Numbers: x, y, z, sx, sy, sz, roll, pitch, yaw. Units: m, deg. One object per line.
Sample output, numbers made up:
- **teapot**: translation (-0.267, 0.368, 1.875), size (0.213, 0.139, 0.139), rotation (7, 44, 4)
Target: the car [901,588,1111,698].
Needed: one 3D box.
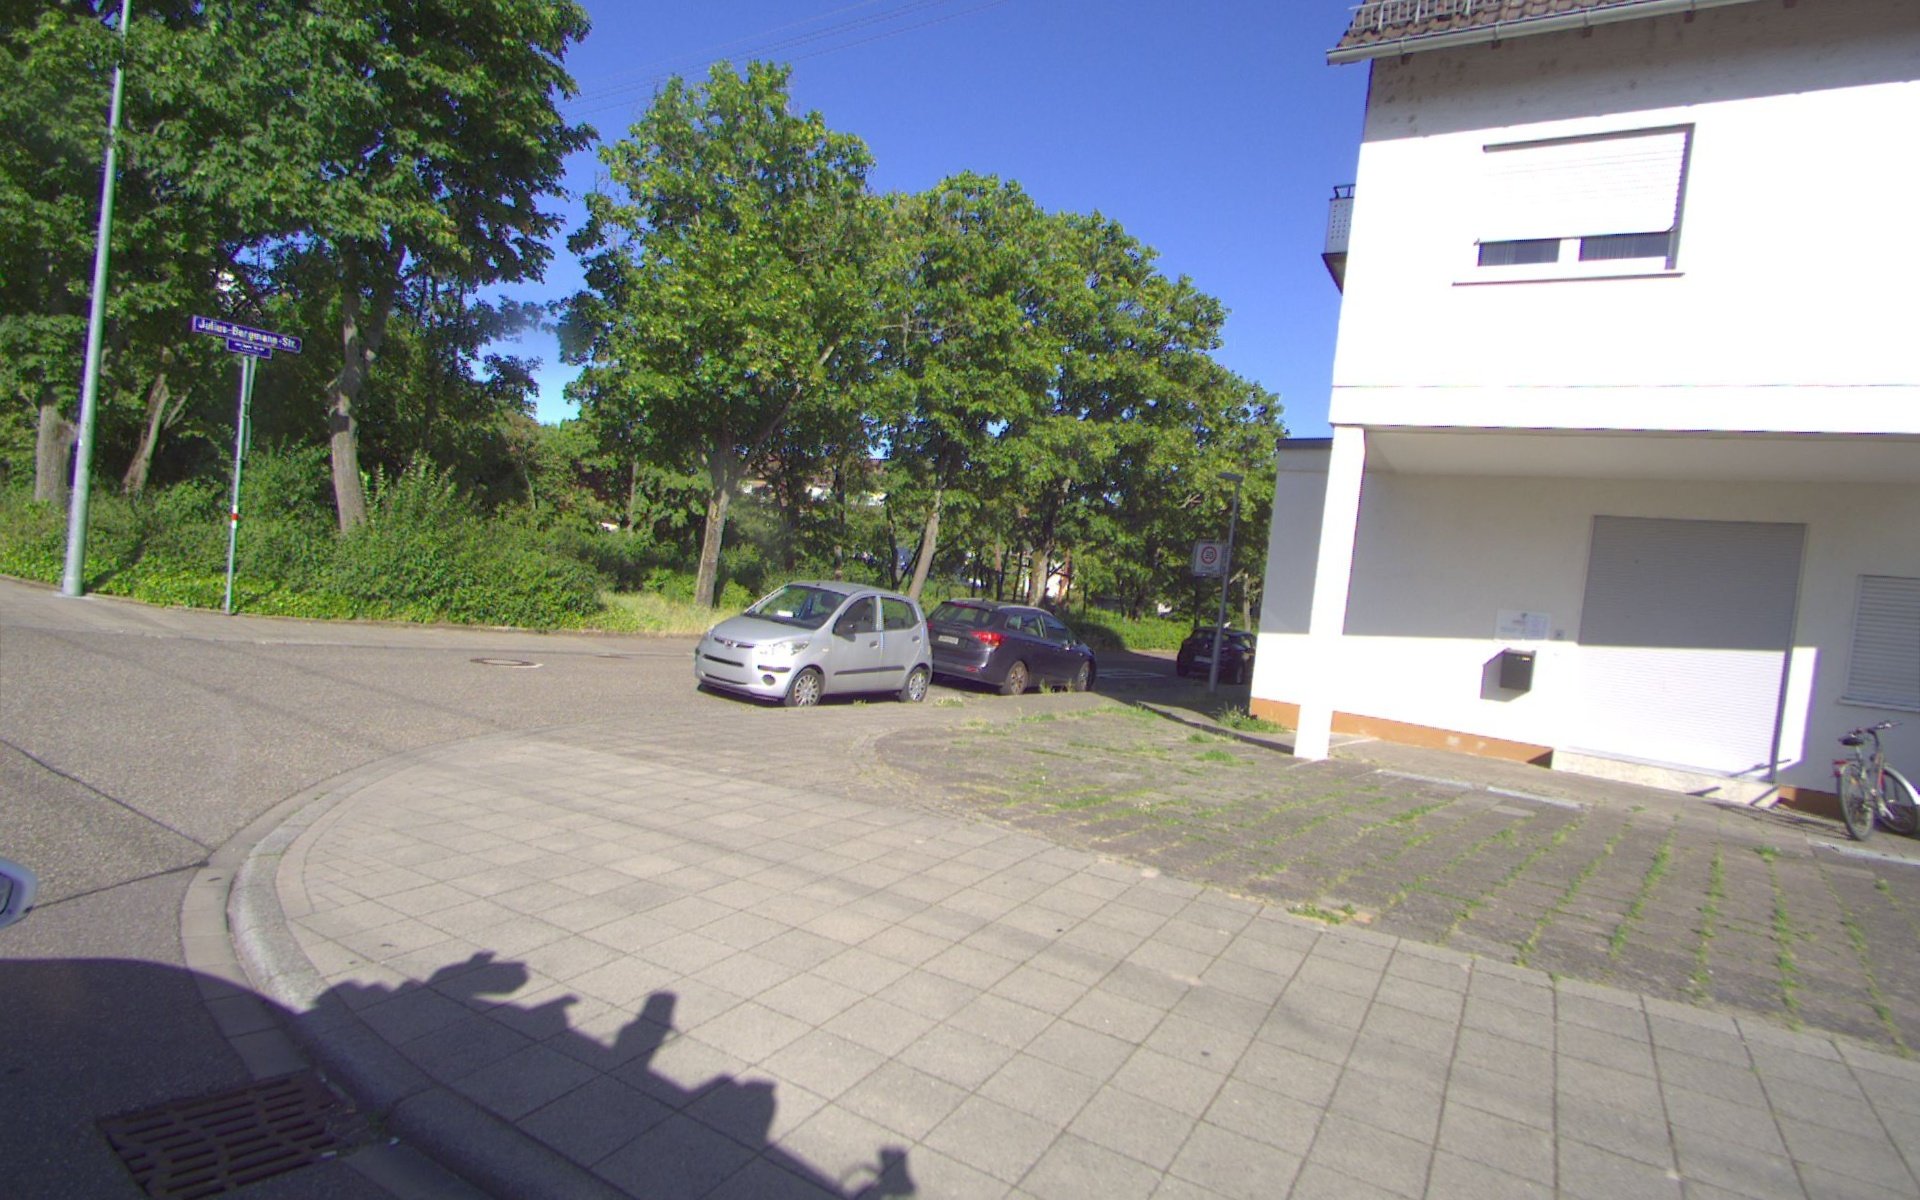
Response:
- **car**: translation (0.922, 0.766, 17.466), size (1.716, 1.516, 4.003), rotation (7, 1, 33)

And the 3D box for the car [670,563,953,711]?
- **car**: translation (-1.804, 0.490, 13.216), size (1.620, 1.550, 3.596), rotation (6, 1, 32)

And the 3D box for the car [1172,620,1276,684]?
- **car**: translation (7.323, 1.443, 27.676), size (1.612, 1.464, 3.700), rotation (7, 1, 31)

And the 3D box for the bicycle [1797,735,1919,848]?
- **bicycle**: translation (8.281, 1.737, 9.084), size (1.525, 0.882, 0.488), rotation (7, 0, -27)
